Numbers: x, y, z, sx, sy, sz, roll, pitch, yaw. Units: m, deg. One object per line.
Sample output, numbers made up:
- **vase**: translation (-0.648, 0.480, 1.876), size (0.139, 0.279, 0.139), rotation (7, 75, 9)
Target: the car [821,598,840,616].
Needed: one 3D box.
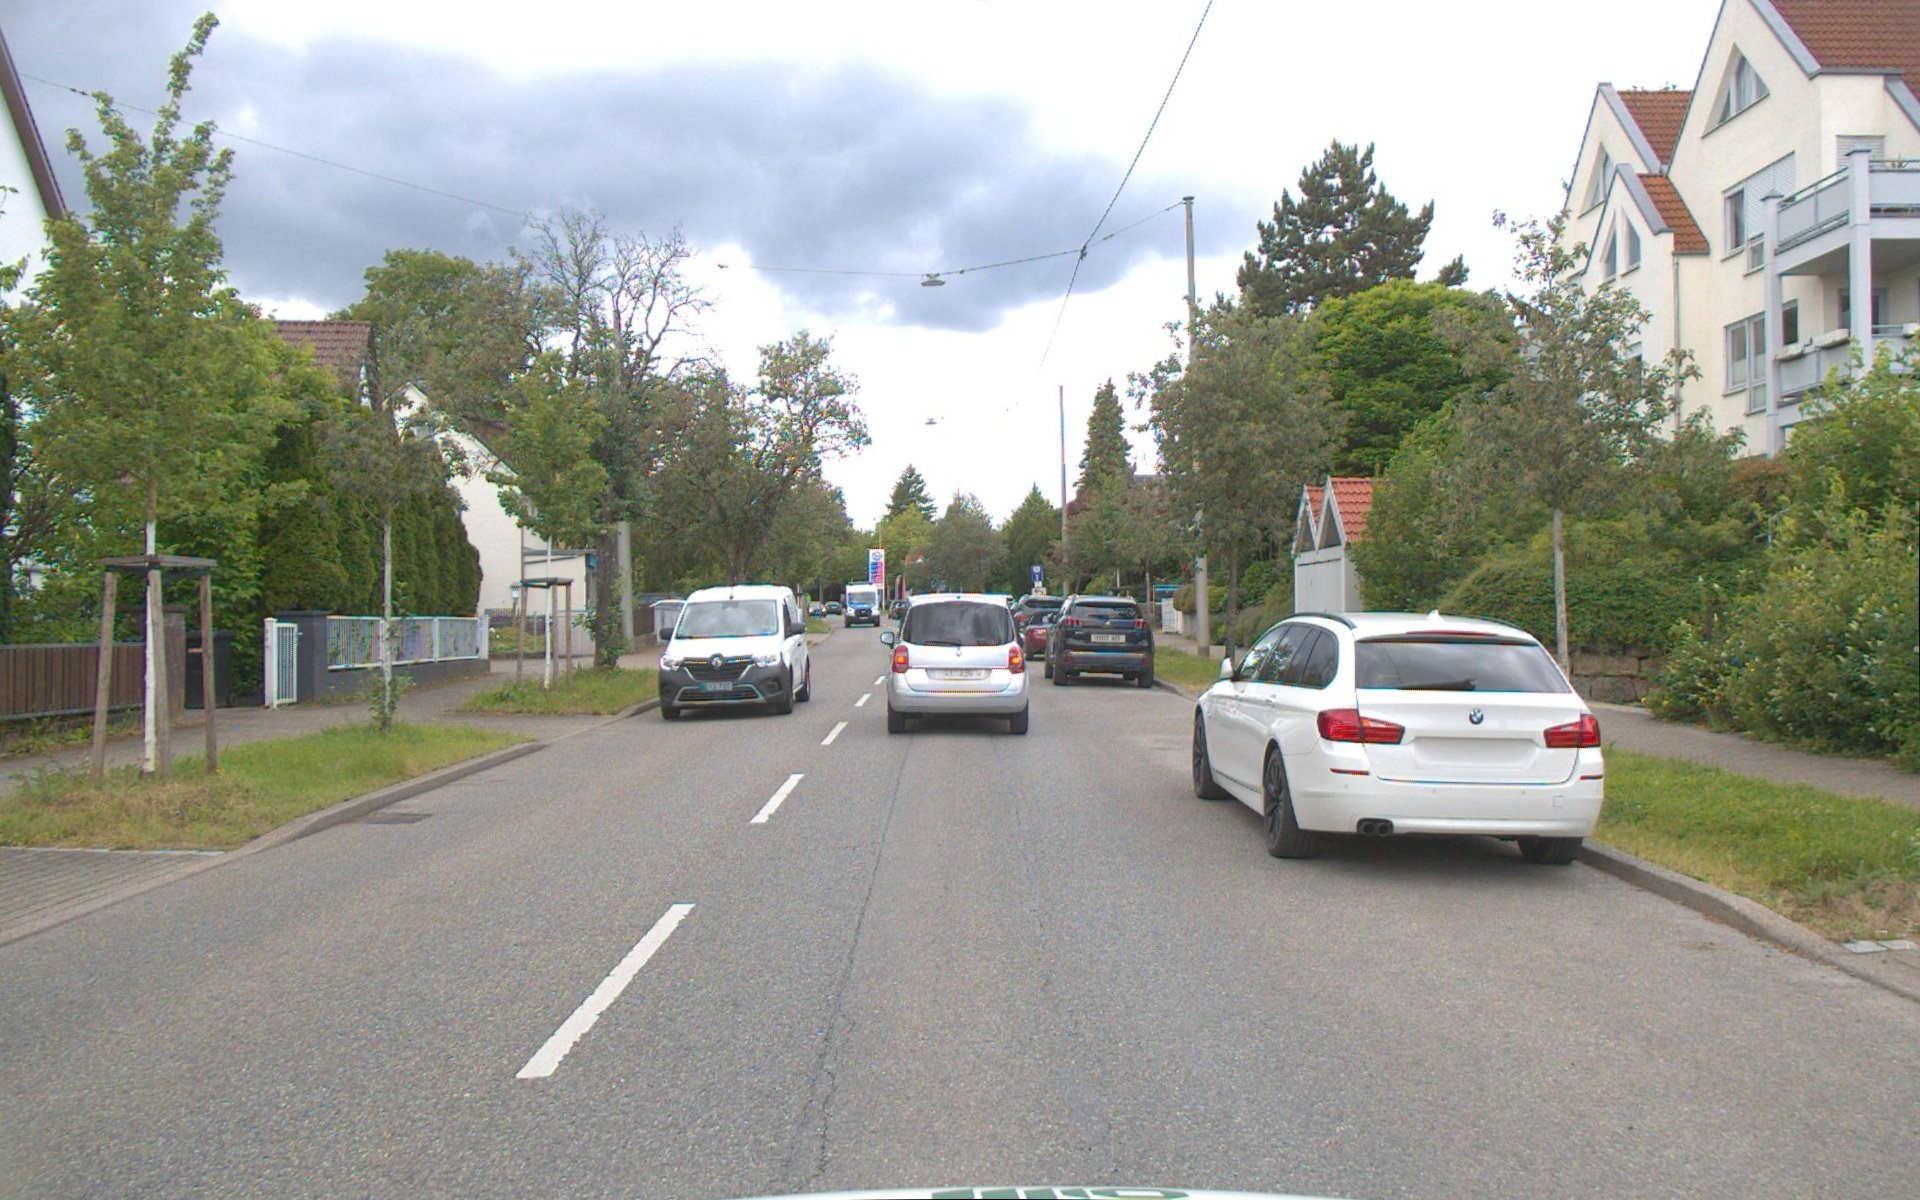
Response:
- **car**: translation (-13.529, 0.699, 172.547), size (1.799, 1.743, 3.996), rotation (-2, 0, -5)

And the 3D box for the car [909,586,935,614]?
- **car**: translation (-4.179, 0.020, 180.298), size (2.238, 2.962, 5.271), rotation (1, 0, -7)

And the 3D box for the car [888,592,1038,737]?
- **car**: translation (0.031, 0.712, 19.988), size (1.645, 1.587, 3.511), rotation (0, 0, 0)

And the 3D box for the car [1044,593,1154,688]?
- **car**: translation (2.561, 0.720, 31.221), size (1.653, 1.637, 4.108), rotation (1, 0, -1)

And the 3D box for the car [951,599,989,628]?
- **car**: translation (0.509, 0.690, 88.800), size (1.595, 1.477, 3.871), rotation (-1, 0, -6)

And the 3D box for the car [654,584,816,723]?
- **car**: translation (-3.153, 0.698, 23.952), size (1.759, 1.782, 4.298), rotation (-1, 0, -1)

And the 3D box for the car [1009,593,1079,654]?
- **car**: translation (2.467, 0.669, 49.633), size (1.793, 1.742, 4.548), rotation (1, 0, -1)

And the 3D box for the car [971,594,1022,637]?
- **car**: translation (1.576, 0.654, 73.028), size (1.764, 1.809, 4.700), rotation (1, 0, -5)

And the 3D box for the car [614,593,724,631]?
- **car**: translation (-11.611, 0.487, 66.254), size (4.198, 1.392, 1.813), rotation (2, -1, -8)

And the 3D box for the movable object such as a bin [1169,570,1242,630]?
- **movable object such as a bin**: translation (8.673, 0.012, 58.567), size (2.266, 2.049, 1.341), rotation (1, -1, -6)

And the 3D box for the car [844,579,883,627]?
- **car**: translation (-5.639, 0.180, 97.324), size (2.032, 2.627, 5.298), rotation (-3, 0, -2)

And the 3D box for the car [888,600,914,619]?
- **car**: translation (-4.823, 0.780, 134.344), size (1.664, 1.532, 3.964), rotation (0, 0, -9)

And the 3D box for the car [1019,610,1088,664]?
- **car**: translation (2.372, 0.914, 42.650), size (1.451, 1.257, 3.883), rotation (2, 0, -1)

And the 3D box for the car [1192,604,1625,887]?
- **car**: translation (2.745, 0.798, 11.174), size (1.659, 1.479, 4.403), rotation (1, 0, -1)

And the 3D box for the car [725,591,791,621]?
- **car**: translation (-12.651, 0.370, 103.899), size (4.007, 1.736, 1.746), rotation (2, 0, -5)

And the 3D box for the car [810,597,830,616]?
- **car**: translation (-12.953, 0.584, 153.304), size (1.799, 1.743, 3.996), rotation (-2, 0, -5)

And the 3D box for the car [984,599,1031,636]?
- **car**: translation (1.935, 0.726, 68.279), size (1.528, 1.468, 3.503), rotation (1, 0, -5)
